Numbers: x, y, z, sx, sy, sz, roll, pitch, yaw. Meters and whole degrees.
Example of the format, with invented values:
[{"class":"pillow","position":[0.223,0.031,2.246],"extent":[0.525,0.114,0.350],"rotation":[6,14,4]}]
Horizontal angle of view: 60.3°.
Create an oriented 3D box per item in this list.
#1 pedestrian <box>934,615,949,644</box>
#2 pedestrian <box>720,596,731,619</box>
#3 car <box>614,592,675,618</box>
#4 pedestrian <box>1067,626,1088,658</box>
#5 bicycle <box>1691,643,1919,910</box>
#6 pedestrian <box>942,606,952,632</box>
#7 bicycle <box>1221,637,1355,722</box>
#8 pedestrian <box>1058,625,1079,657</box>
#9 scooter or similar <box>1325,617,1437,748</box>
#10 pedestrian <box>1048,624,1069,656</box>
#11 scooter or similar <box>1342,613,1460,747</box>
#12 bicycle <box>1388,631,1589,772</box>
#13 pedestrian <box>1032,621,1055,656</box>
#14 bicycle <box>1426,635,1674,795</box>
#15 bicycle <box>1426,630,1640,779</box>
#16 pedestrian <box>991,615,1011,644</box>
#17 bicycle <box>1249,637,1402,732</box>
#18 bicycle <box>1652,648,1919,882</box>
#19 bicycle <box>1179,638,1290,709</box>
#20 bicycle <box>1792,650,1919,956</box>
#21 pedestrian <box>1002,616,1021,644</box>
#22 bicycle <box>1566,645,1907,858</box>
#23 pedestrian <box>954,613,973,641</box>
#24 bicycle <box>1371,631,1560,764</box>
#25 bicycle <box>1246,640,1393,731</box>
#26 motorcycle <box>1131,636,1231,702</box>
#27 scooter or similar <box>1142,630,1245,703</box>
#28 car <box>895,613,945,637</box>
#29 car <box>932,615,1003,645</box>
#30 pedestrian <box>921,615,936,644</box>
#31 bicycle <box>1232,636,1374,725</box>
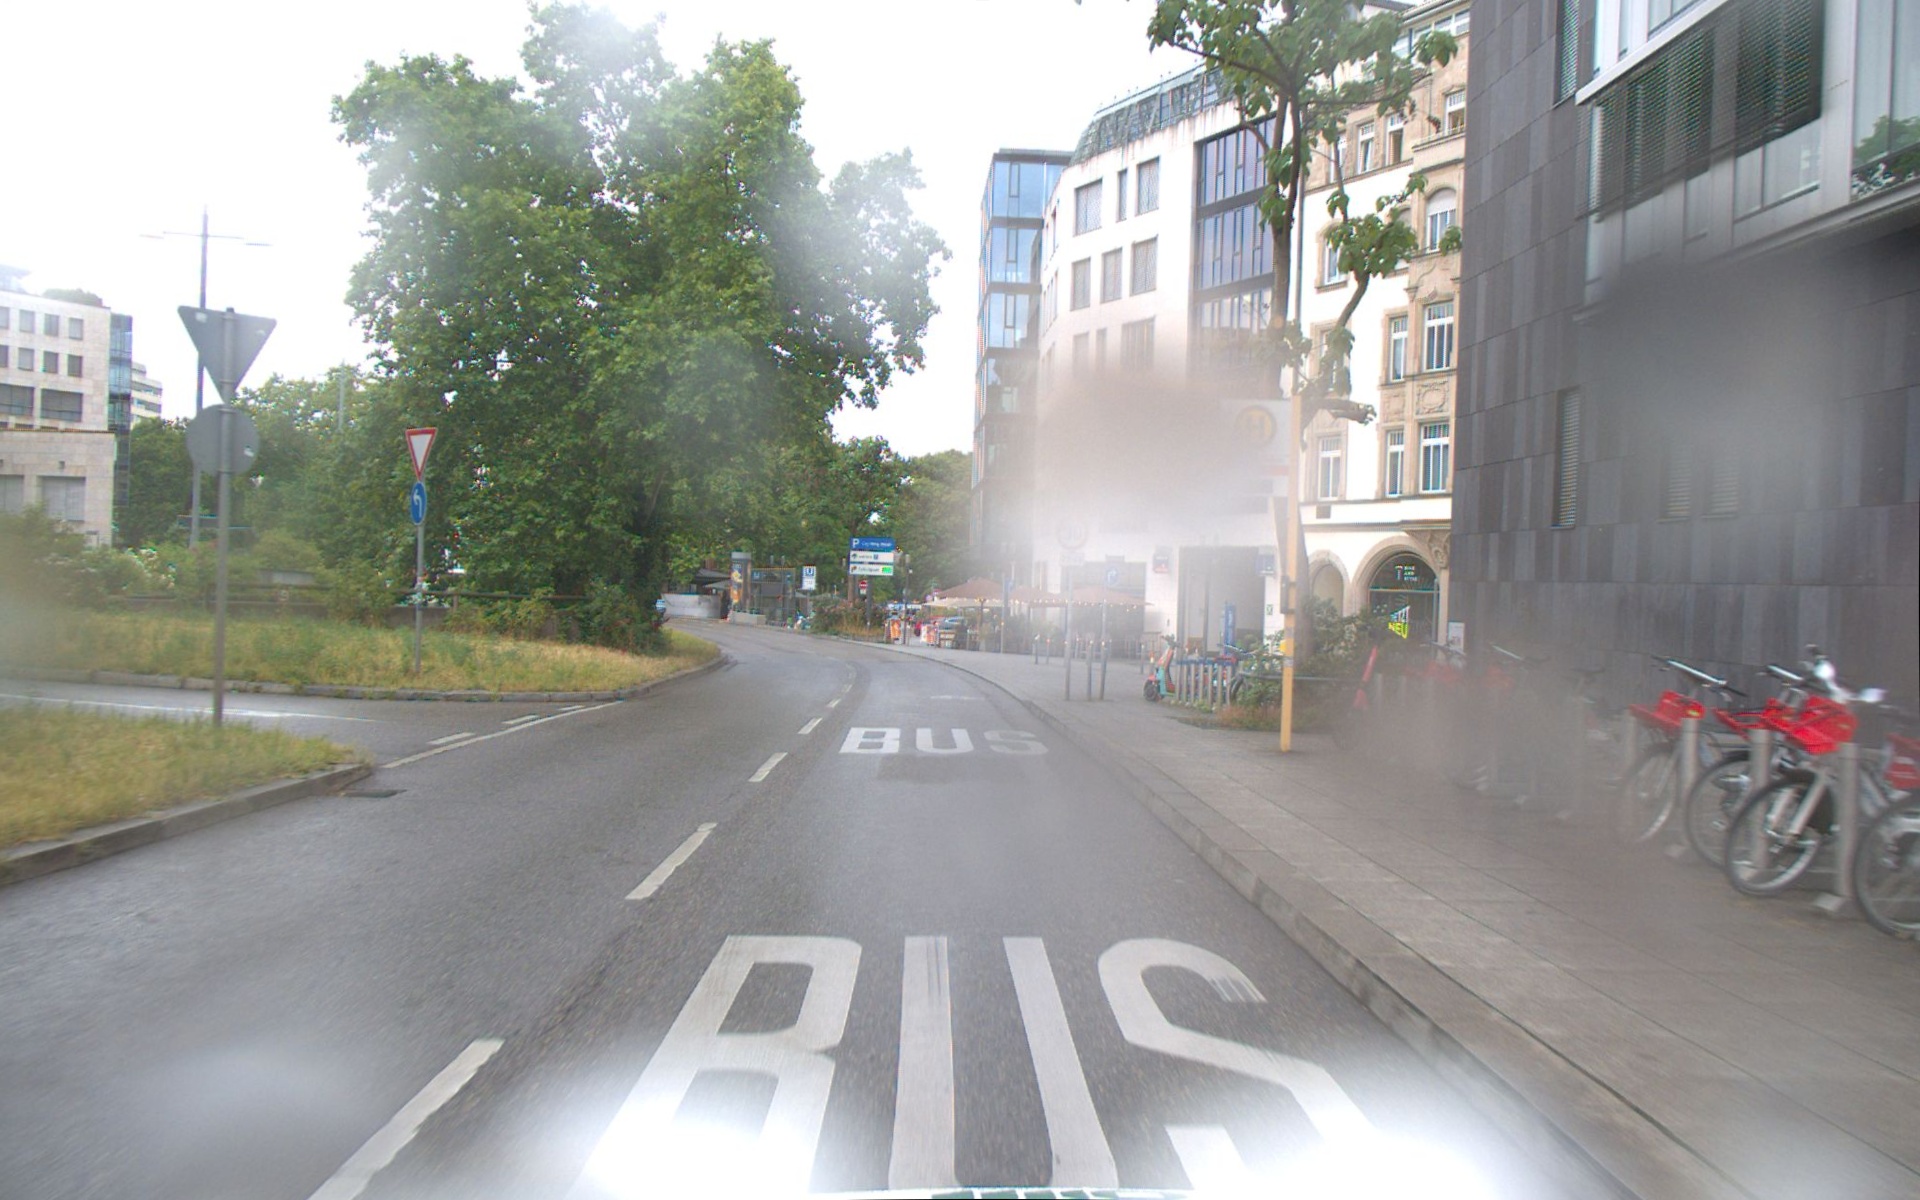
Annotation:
[{"class":"pedestrian","position":[-0.888,1.436,80.413],"extent":[0.594,1.349,0.567],"rotation":[4,-1,-6]},{"class":"pedestrian","position":[-17.941,0.549,126.653],"extent":[0.707,1.731,0.619],"rotation":[1,-1,6]},{"class":"car","position":[-22.353,0.373,117.067],"extent":[4.262,1.695,1.944],"rotation":[1,-1,38]},{"class":"pedestrian","position":[5.068,1.806,71.403],"extent":[0.619,1.349,0.630],"rotation":[4,-1,-26]},{"class":"bicycle","position":[4.538,0.832,8.035],"extent":[1.697,1.204,0.688],"rotation":[1,0,-8]},{"class":"pedestrian","position":[-1.001,1.428,125.943],"extent":[0.611,1.967,0.788],"rotation":[2,-1,5]},{"class":"bicycle","position":[4.789,1.154,24.167],"extent":[1.760,1.127,0.669],"rotation":[3,-2,-7]},{"class":"pedestrian","position":[4.747,1.773,72.203],"extent":[0.619,1.349,0.630],"rotation":[4,-1,-26]},{"class":"scooter or similar","position":[4.238,0.829,16.661],"extent":[1.040,1.280,0.302],"rotation":[2,-2,-9]},{"class":"pedestrian","position":[4.367,1.783,73.557],"extent":[0.619,1.349,0.630],"rotation":[4,-1,-26]},{"class":"scooter or similar","position":[4.345,0.789,16.304],"extent":[1.085,1.280,0.302],"rotation":[2,-2,-9]},{"class":"bicycle","position":[4.565,0.867,14.332],"extent":[1.505,1.160,0.688],"rotation":[2,-2,-8]},{"class":"pedestrian","position":[3.370,1.566,67.091],"extent":[0.759,1.349,0.635],"rotation":[4,-1,-6]},{"class":"bicycle","position":[4.535,0.875,12.757],"extent":[1.674,1.160,0.688],"rotation":[2,-2,-8]},{"class":"bicycle","position":[4.685,0.847,13.560],"extent":[1.505,1.160,0.688],"rotation":[2,-2,-8]},{"class":"pedestrian","position":[2.055,1.480,82.960],"extent":[0.801,1.349,0.635],"rotation":[4,-1,-6]},{"class":"bicycle","position":[4.593,1.057,20.827],"extent":[1.760,1.087,0.555],"rotation":[3,-2,-6]},{"class":"bicycle","position":[4.667,0.857,8.808],"extent":[1.697,1.160,0.688],"rotation":[1,0,-8]},{"class":"bicycle","position":[4.787,1.278,28.885],"extent":[1.760,1.127,0.669],"rotation":[3,-2,-7]},{"class":"bicycle","position":[4.559,0.834,7.074],"extent":[1.697,1.204,0.688],"rotation":[1,0,-8]},{"class":"pedestrian","position":[2.540,1.501,82.137],"extent":[0.801,1.349,0.635],"rotation":[4,-1,-6]},{"class":"bicycle","position":[4.495,0.861,9.622],"extent":[1.697,1.160,0.688],"rotation":[1,0,-8]},{"class":"pedestrian","position":[0.168,1.327,82.319],"extent":[0.801,1.349,0.635],"rotation":[4,-1,-6]},{"class":"bicycle","position":[4.620,0.882,15.150],"extent":[1.505,1.160,0.661],"rotation":[2,-2,-8]},{"class":"bicycle","position":[4.707,1.116,21.690],"extent":[1.760,1.087,0.555],"rotation":[3,-2,-6]},{"class":"motorcycle","position":[4.238,1.316,31.756],"extent":[1.758,1.160,0.595],"rotation":[3,-2,-7]},{"class":"scooter or similar","position":[4.350,1.234,30.836],"extent":[1.758,1.265,0.595],"rotation":[3,-2,-7]},{"class":"car","position":[-2.903,1.800,119.660],"extent":[3.470,1.440,1.603],"rotation":[3,-1,45]},{"class":"car","position":[0.471,2.009,110.995],"extent":[4.640,1.720,2.004],"rotation":[3,0,-2]},{"class":"pedestrian","position":[-1.541,1.431,80.396],"extent":[0.594,1.349,0.567],"rotation":[4,-1,-6]},{"class":"bicycle","position":[4.613,1.079,22.290],"extent":[1.760,1.087,0.555],"rotation":[3,-2,-6]}]
